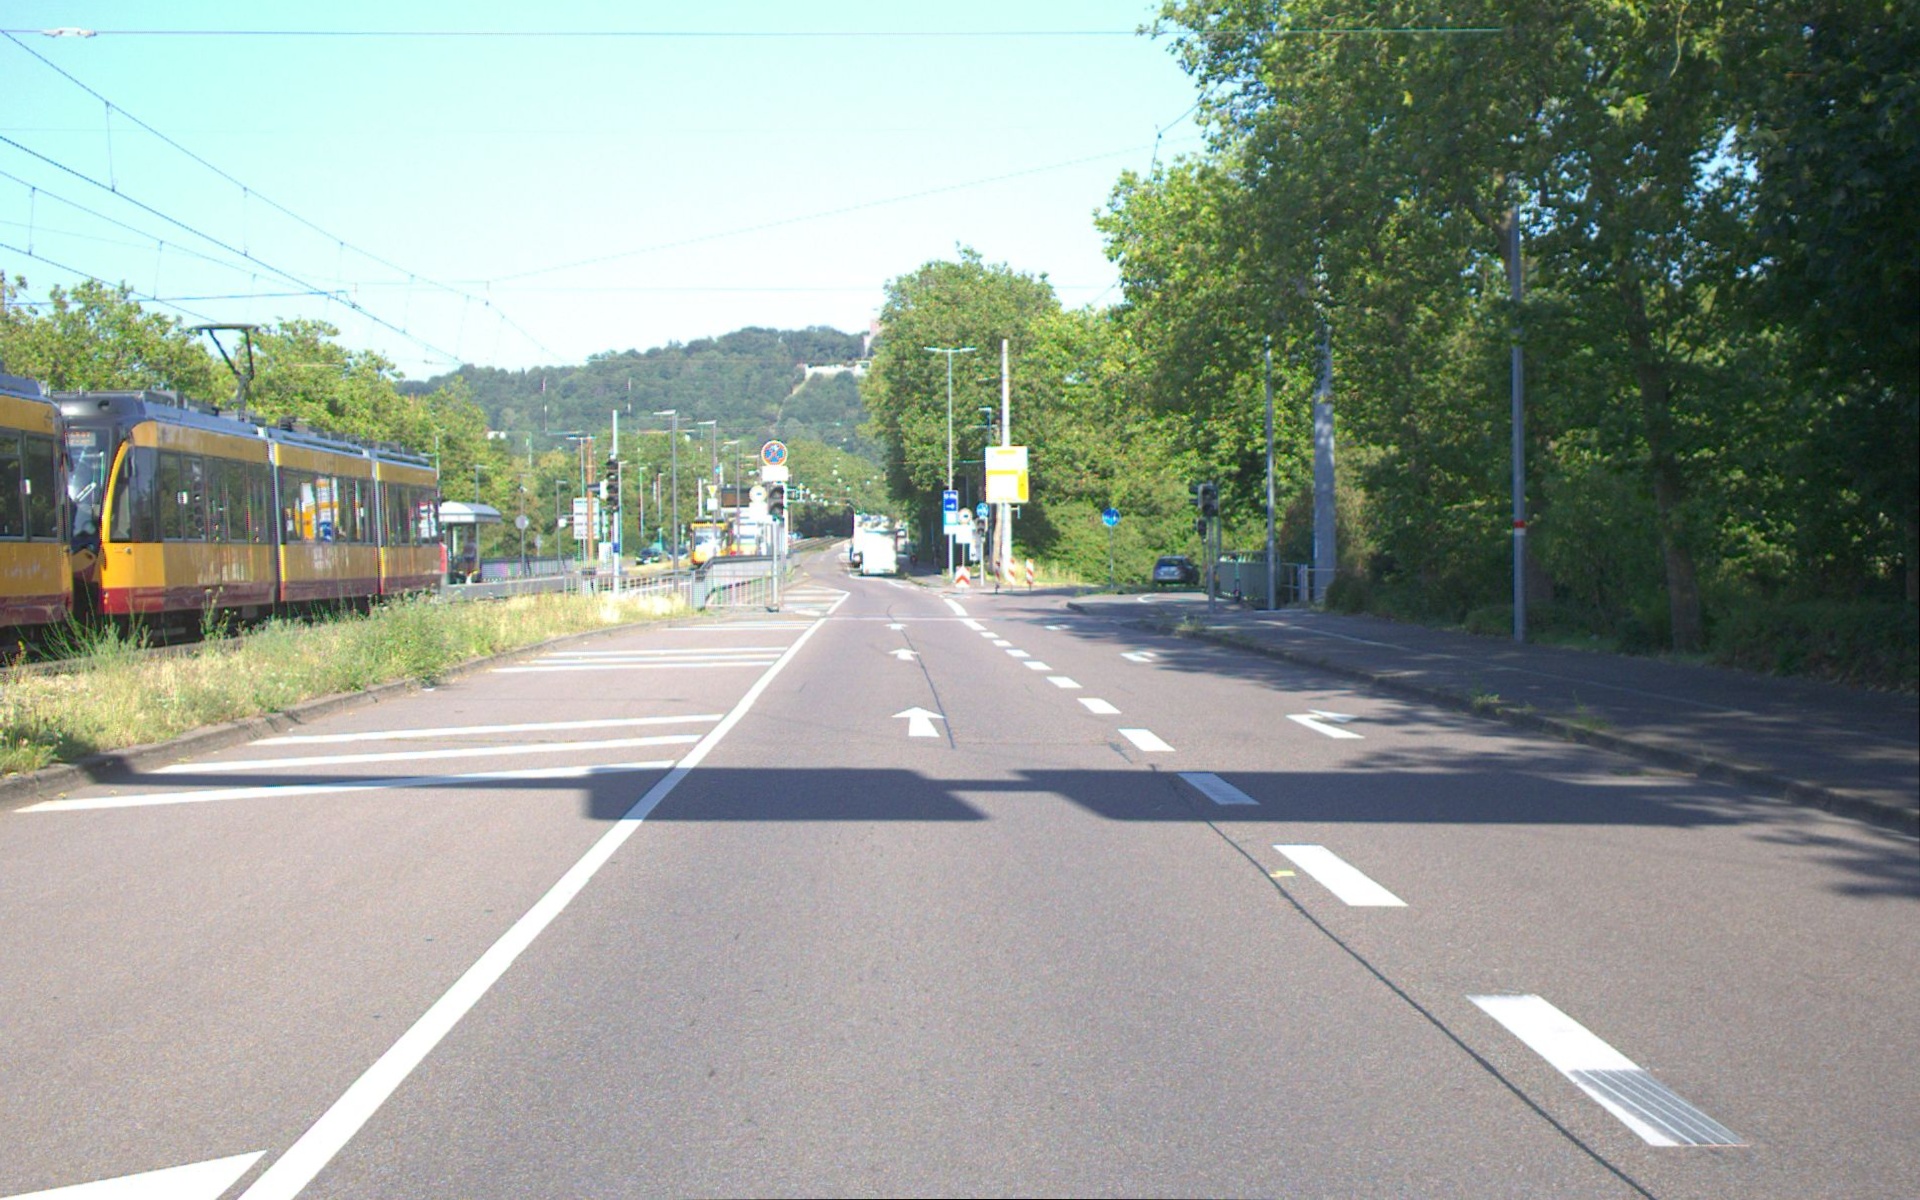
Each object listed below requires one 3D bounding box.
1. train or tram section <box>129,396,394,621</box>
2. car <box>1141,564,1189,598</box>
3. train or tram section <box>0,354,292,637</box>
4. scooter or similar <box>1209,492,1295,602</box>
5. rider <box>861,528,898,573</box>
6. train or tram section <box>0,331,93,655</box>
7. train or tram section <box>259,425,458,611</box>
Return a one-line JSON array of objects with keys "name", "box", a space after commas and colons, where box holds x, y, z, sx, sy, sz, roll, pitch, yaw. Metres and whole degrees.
[{"name": "train or tram section", "box": [-13.416, -1.688, 67.263, 2.824, 3.937, 12.654, 1, 1, -1]}, {"name": "car", "box": [9.689, -0.920, 162.171, 2.087, 1.560, 3.954, 1, 1, 5]}, {"name": "train or tram section", "box": [-13.146, -1.544, 54.568, 2.824, 3.937, 12.708, 1, 1, -1]}, {"name": "scooter or similar", "box": [7.408, -1.353, 87.588, 1.681, 2.706, 4.869, 1, 1, -1]}, {"name": "rider", "box": [-4.731, -2.893, 201.808, 2.109, 2.638, 0.736, 0, 1, 5]}, {"name": "train or tram section", "box": [-12.938, -1.294, 40.339, 2.804, 3.889, 11.814, 1, 1, -2]}, {"name": "train or tram section", "box": [-13.662, -1.821, 78.994, 2.824, 3.937, 10.835, 1, 1, -1]}]
